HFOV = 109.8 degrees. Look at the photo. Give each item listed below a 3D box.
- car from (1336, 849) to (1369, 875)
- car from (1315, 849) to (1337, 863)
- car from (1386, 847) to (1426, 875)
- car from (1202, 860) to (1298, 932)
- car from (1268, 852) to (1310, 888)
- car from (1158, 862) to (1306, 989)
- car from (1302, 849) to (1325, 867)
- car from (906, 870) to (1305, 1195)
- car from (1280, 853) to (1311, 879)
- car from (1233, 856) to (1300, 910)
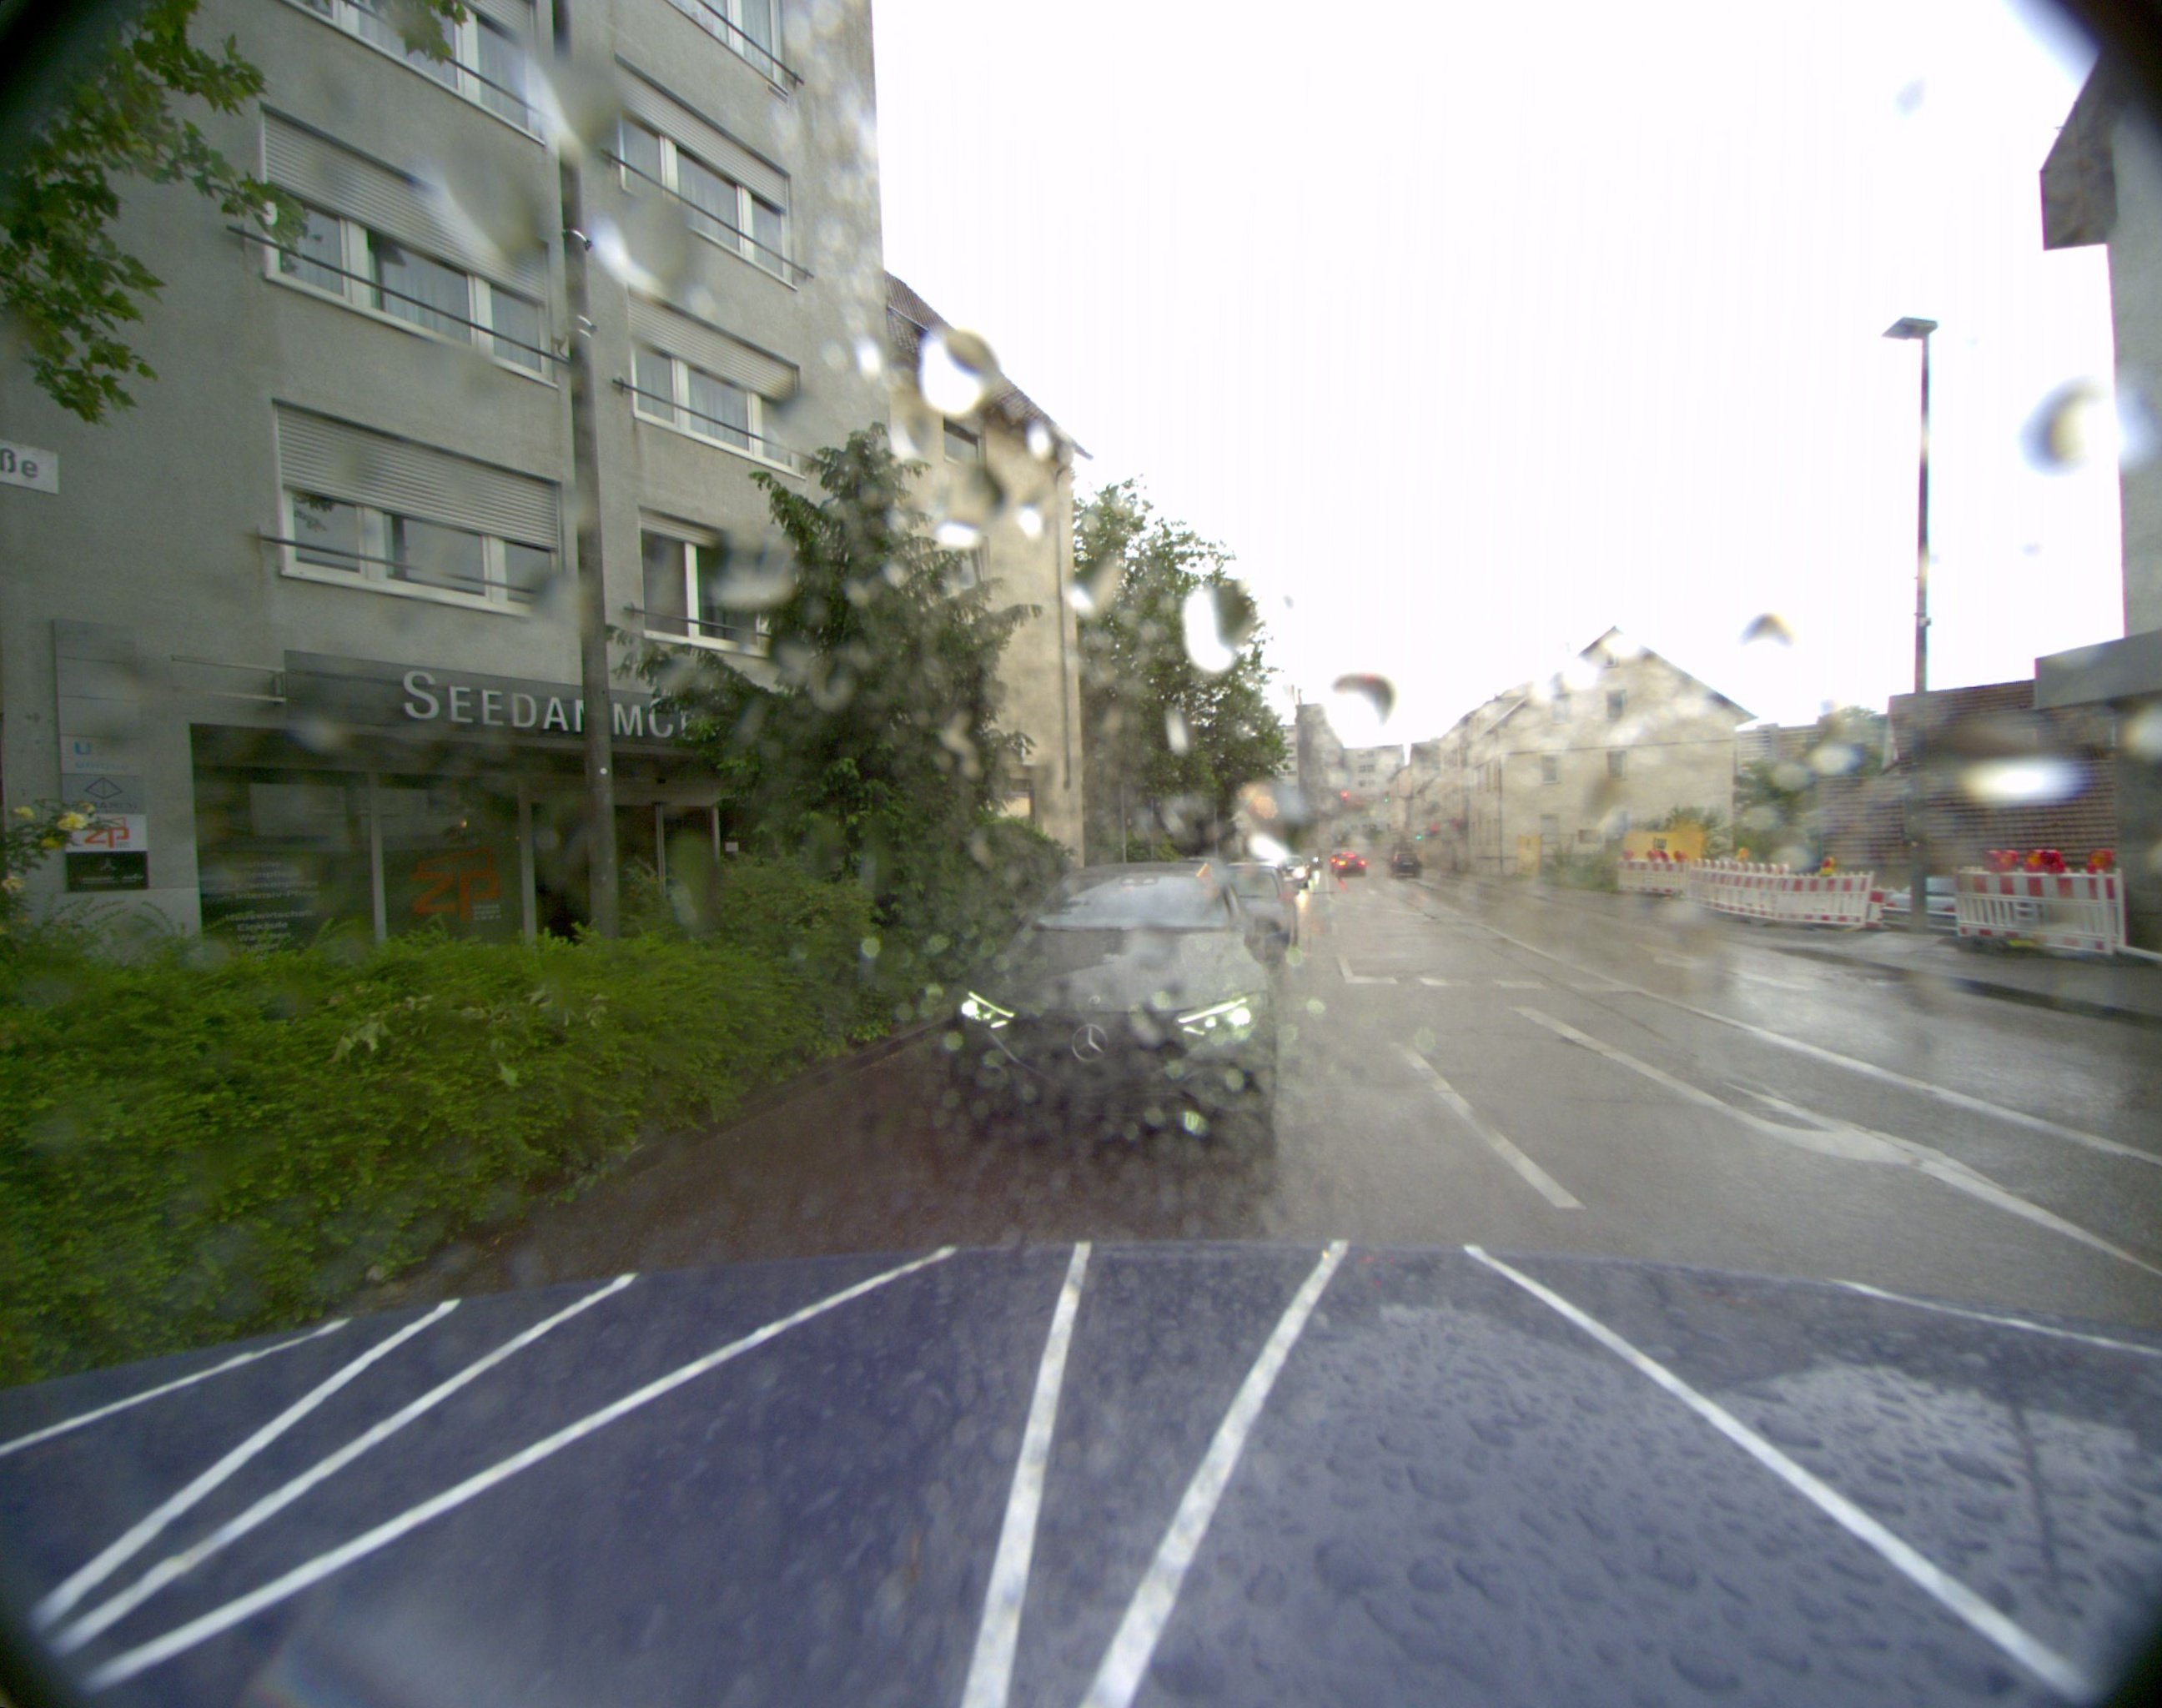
[{"bbox_3d":[17.670,0.487,49.631,1.811,1.556,4.005,-2,0,17],"label":"car"},{"bbox_3d":[27.758,0.206,86.091,1.997,1.543,4.004,-2,0,13],"label":"car"},{"bbox_3d":[19.884,0.403,46.632,1.811,1.556,4.005,-2,0,18],"label":"car"},{"bbox_3d":[4.208,0.948,18.683,1.996,1.444,4.004,-3,0,14],"label":"car"},{"bbox_3d":[10.279,0.729,37.436,1.842,1.612,4.005,-2,0,17],"label":"car"},{"bbox_3d":[2.562,0.959,11.961,1.771,1.523,4.383,-2,0,17],"label":"car"},{"bbox_3d":[21.533,0.352,70.558,1.851,1.469,4.004,-2,0,15],"label":"car"},{"bbox_3d":[0.448,0.961,6.009,1.997,1.484,4.317,-2,0,10],"label":"car"},{"bbox_3d":[13.947,0.751,49.309,1.830,1.542,4.005,-4,-1,17],"label":"car"},{"bbox_3d":[6.172,0.903,24.978,1.811,1.556,4.005,-2,0,18],"label":"car"}]
